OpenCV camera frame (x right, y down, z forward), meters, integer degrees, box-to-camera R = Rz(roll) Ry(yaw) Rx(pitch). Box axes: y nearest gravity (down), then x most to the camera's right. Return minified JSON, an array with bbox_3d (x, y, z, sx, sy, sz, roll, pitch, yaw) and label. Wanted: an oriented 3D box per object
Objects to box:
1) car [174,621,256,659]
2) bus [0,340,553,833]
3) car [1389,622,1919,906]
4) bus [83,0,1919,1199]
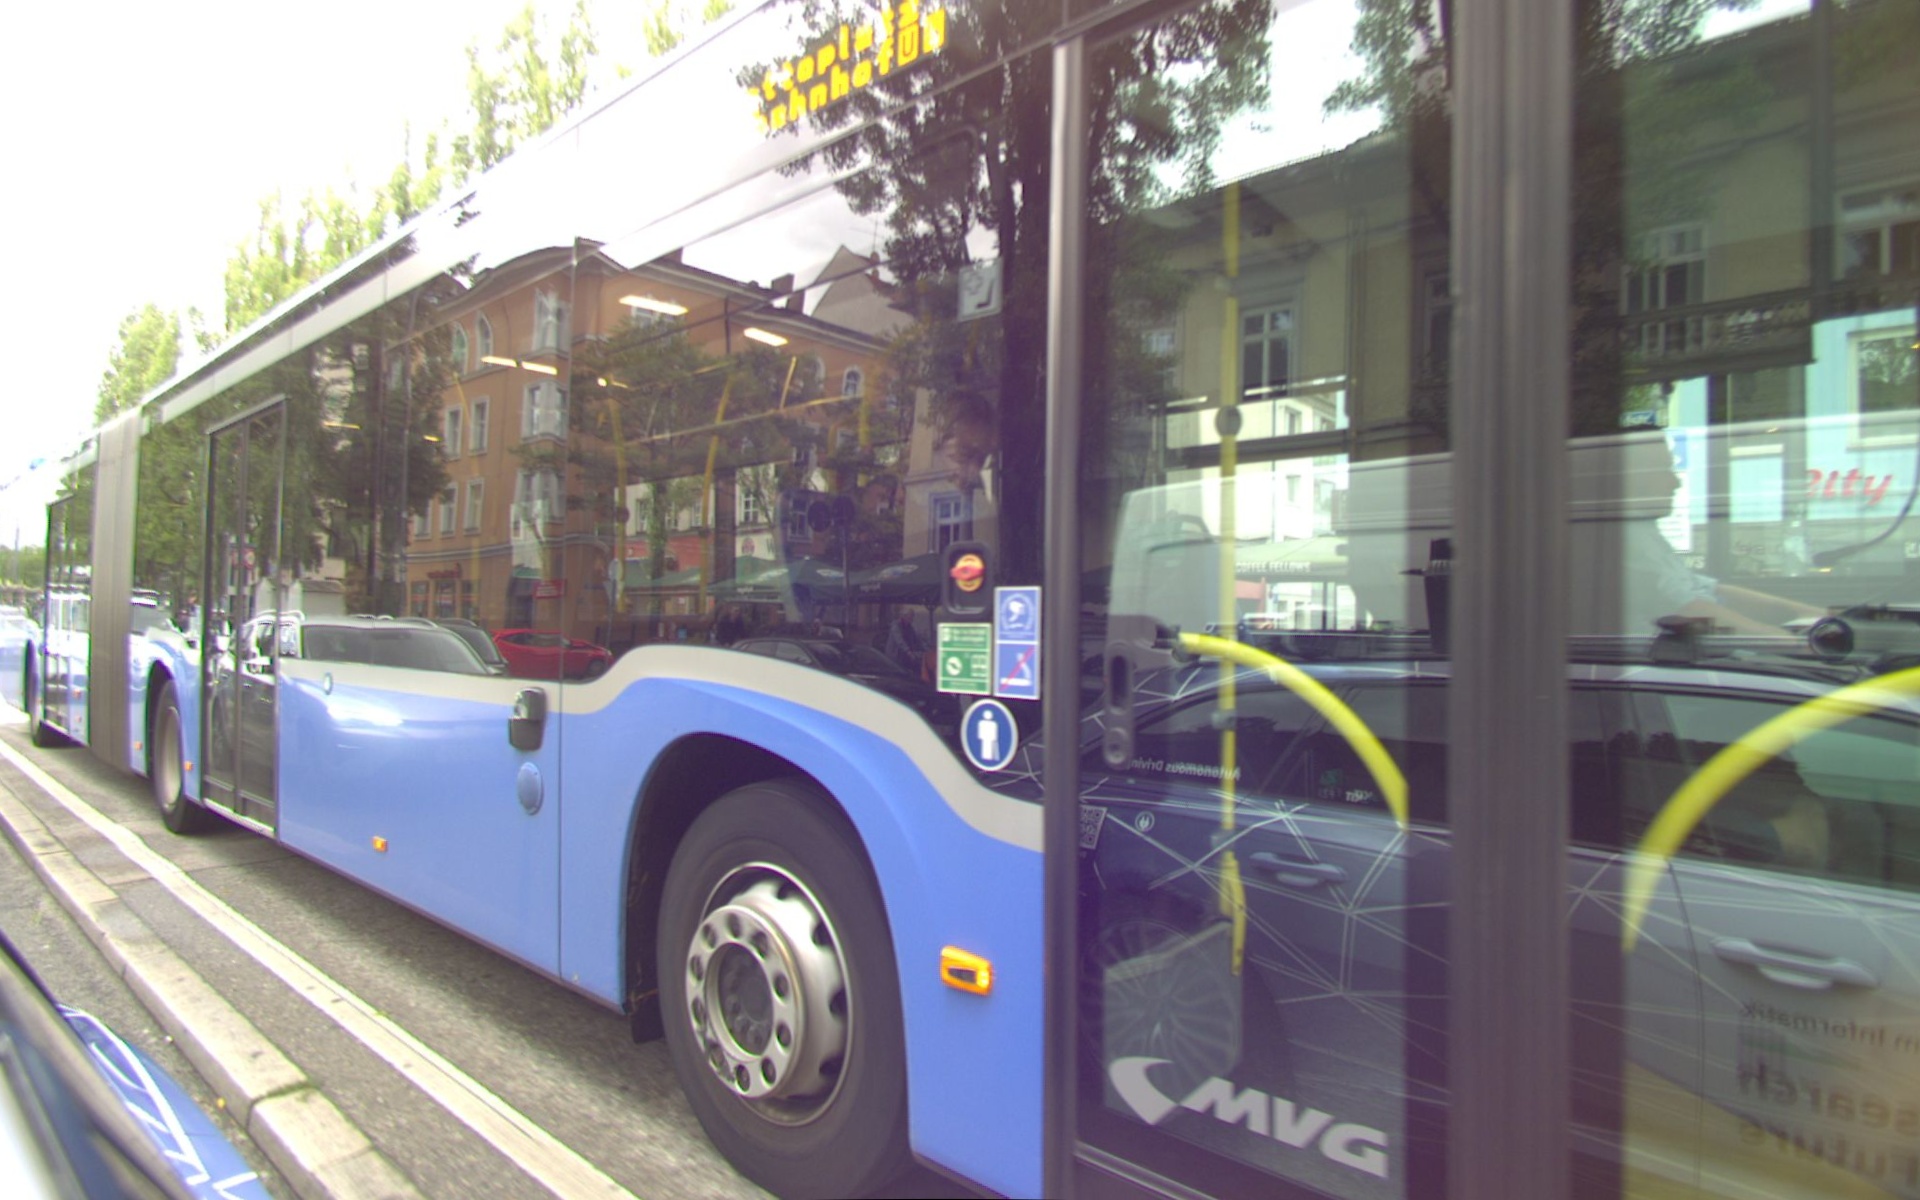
[{"bbox_3d":[-30.747,1.632,41.723,4.572,1.451,1.778,-1,-3,42],"label":"car"},{"bbox_3d":[-7.932,-0.007,10.417,10.047,2.972,2.655,-1,-2,41],"label":"bus"},{"bbox_3d":[5.312,0.903,6.158,4.710,1.473,1.680,-1,-3,41],"label":"car"},{"bbox_3d":[-1.331,-0.112,4.654,10.047,2.972,2.661,-1,-2,41],"label":"bus"}]
